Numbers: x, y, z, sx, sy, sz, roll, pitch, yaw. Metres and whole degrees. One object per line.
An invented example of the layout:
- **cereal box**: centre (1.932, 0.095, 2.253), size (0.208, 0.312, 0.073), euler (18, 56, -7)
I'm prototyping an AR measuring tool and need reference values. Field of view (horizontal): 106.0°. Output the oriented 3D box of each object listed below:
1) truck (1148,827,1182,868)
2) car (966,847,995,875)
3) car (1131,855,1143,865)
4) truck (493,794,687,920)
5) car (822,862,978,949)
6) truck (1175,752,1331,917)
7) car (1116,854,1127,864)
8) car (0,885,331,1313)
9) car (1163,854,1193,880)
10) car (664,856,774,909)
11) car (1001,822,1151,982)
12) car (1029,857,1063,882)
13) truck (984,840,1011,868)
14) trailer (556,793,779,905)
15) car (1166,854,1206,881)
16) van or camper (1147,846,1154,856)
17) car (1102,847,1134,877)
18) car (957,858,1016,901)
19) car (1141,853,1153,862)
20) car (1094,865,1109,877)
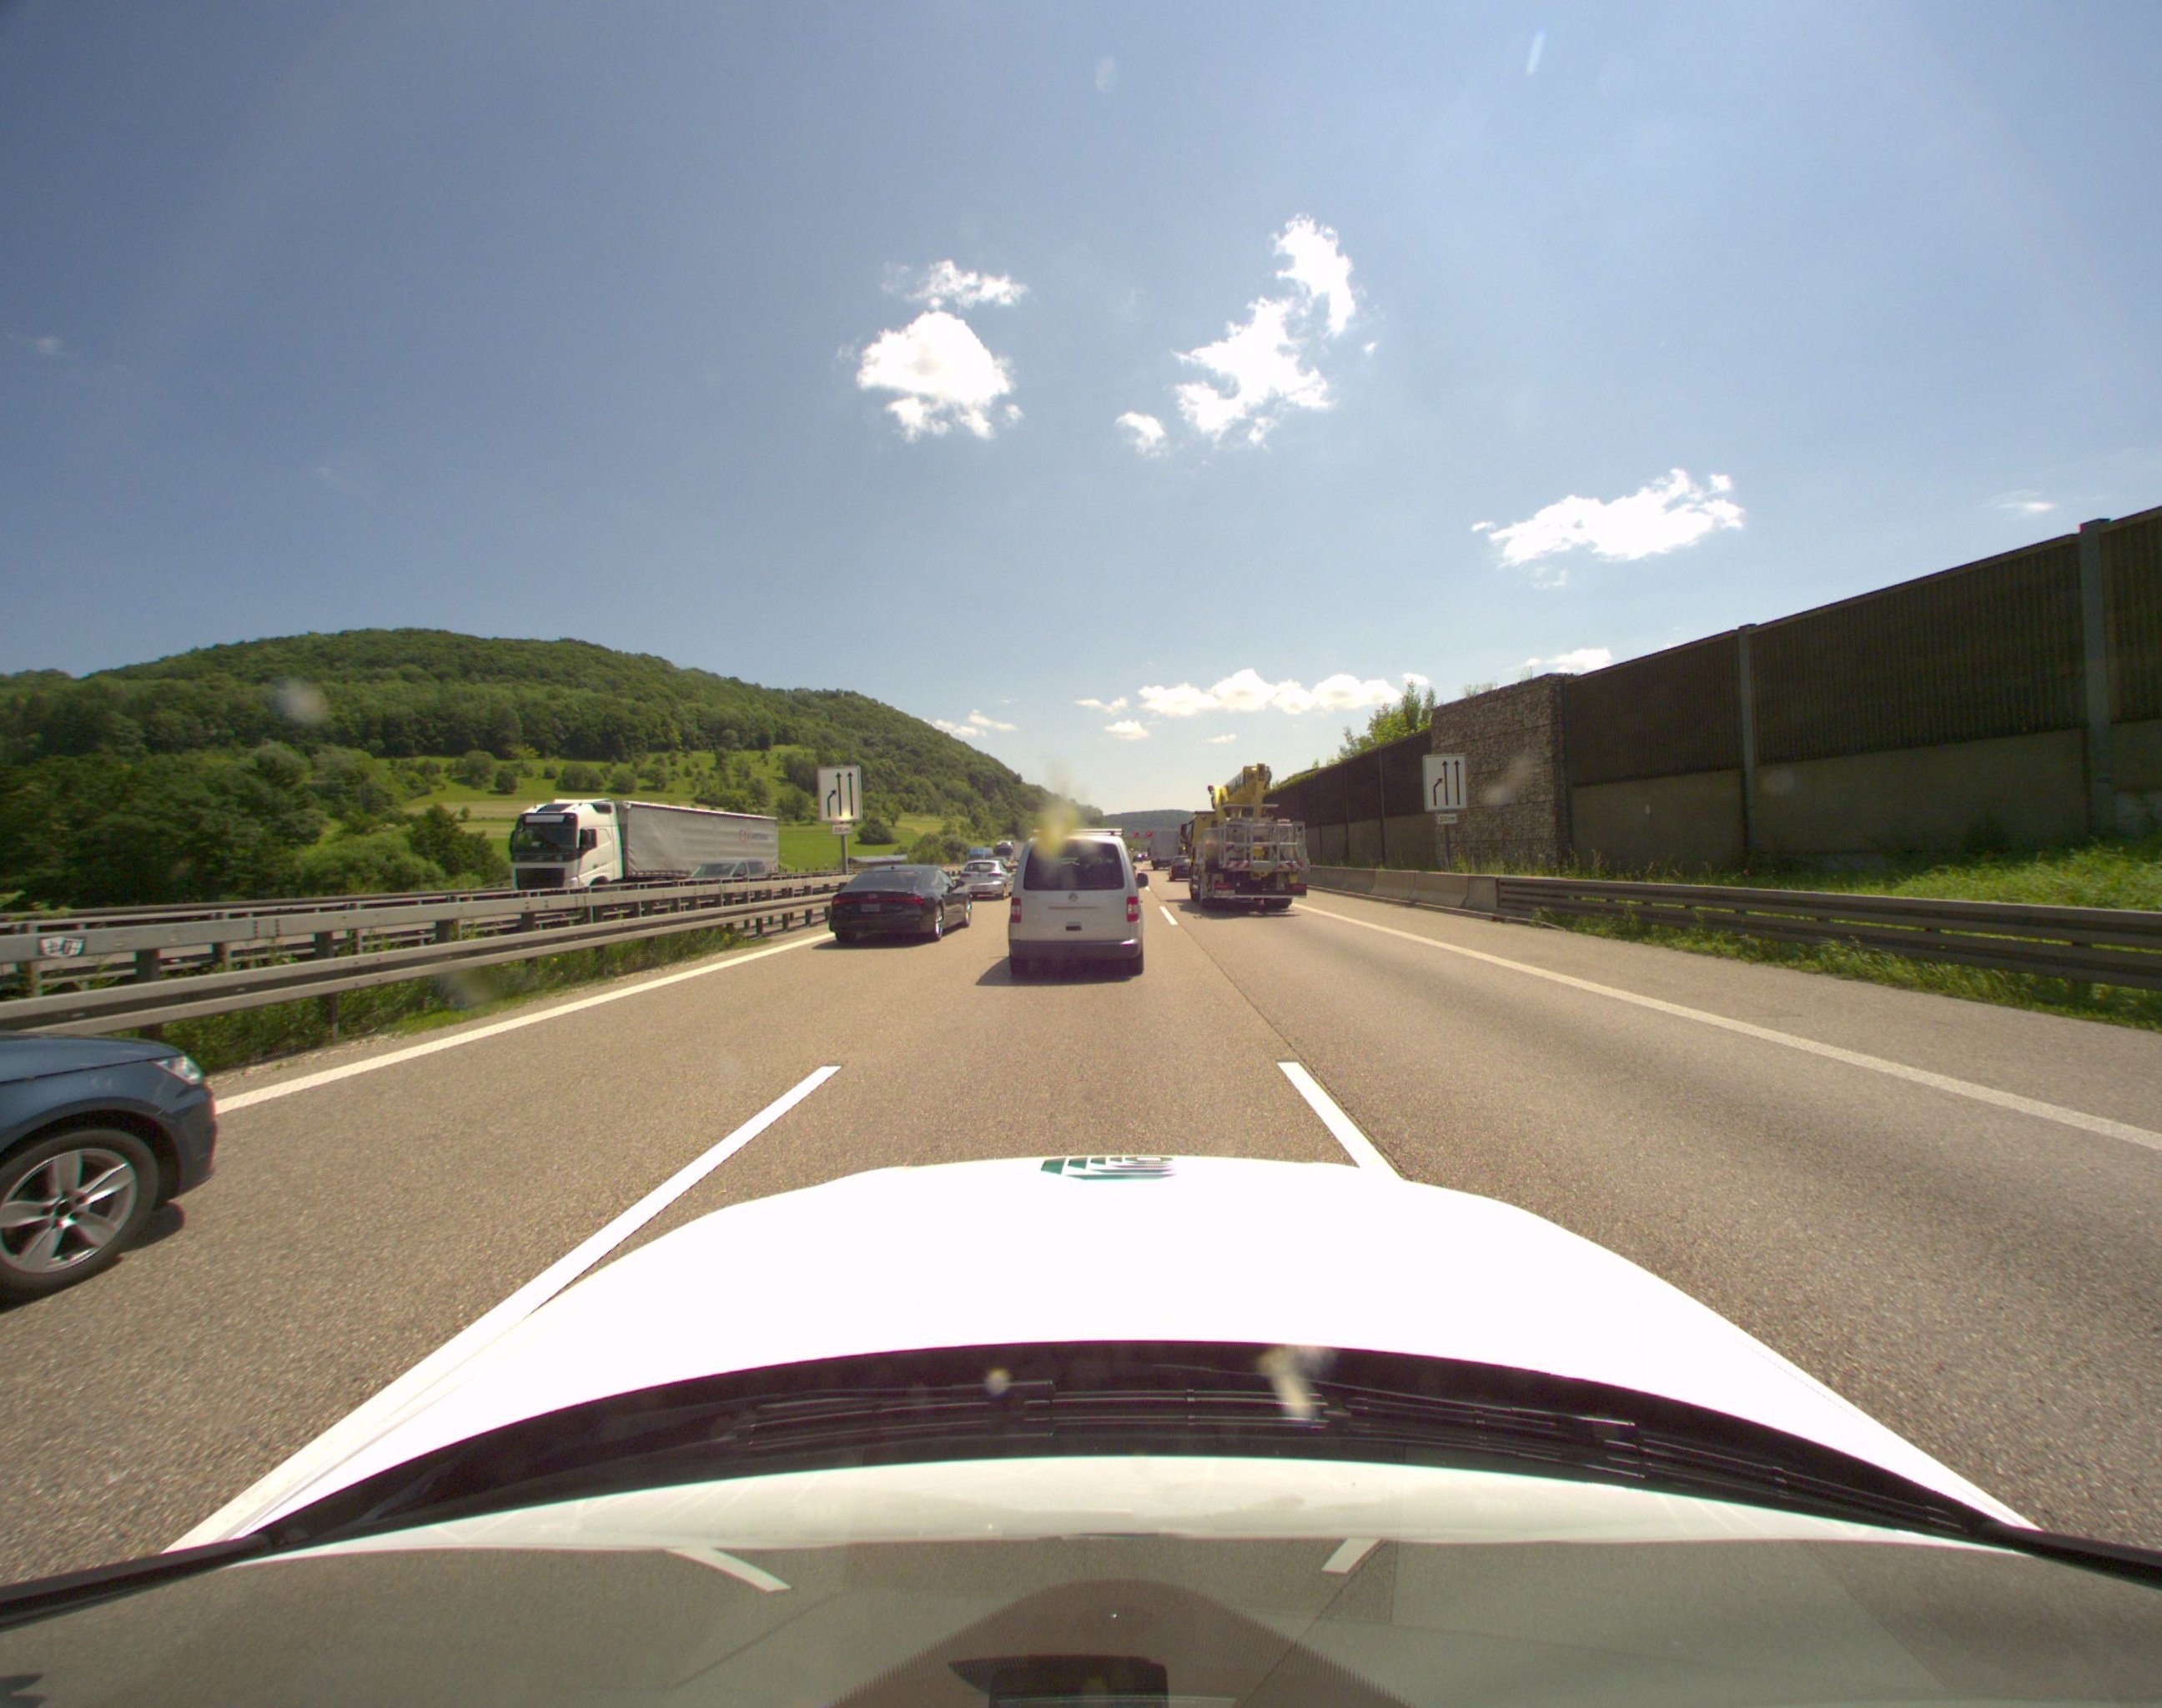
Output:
- **truck**: centre (8.278, -0.562, 81.377), size (2.928, 3.823, 8.242), euler (0, -1, 3)
- **car**: centre (-10.930, 0.785, 88.958), size (2.147, 2.862, 6.403), euler (0, -1, 2)
- **car**: centre (9.609, 1.049, 140.326), size (1.985, 1.749, 4.003), euler (0, -1, 3)
- **truck**: centre (-18.329, 0.133, 31.110), size (2.787, 4.232, 7.234), euler (0, -1, 2)
- **car**: centre (-3.365, 0.888, 16.218), size (1.794, 1.390, 4.971), euler (-1, 0, 2)
- **truck**: centre (4.683, -0.472, 24.116), size (2.695, 3.942, 8.720), euler (-1, 0, 0)
- **car**: centre (7.923, 1.015, 159.695), size (2.107, 1.828, 3.999), euler (0, -1, 0)
- **car**: centre (-4.487, 0.857, 1.901), size (1.682, 1.388, 4.001), euler (-1, 0, 1)
- **car**: centre (7.750, 0.999, 65.165), size (1.986, 2.013, 4.001), euler (-1, 0, 1)
- **car**: centre (-13.494, 1.005, 30.704), size (1.985, 1.853, 4.410), euler (0, 0, 3)
- **car**: centre (-0.053, 0.580, 11.746), size (1.750, 1.868, 3.999), euler (-1, 0, 0)
- **car**: centre (-2.168, 0.927, 50.972), size (1.919, 1.499, 3.999), euler (-1, 0, 0)
- **truck**: centre (-13.154, 0.032, 129.283), size (3.265, 4.148, 6.959), euler (-1, -1, 2)
- **trailer**: centre (-18.097, -0.127, 37.459), size (2.843, 4.191, 13.621), euler (0, -1, 2)
- **car**: centre (6.057, 0.759, 47.275), size (1.780, 1.458, 3.770), euler (-1, 0, 0)
- **van or camper**: centre (20.950, -0.782, 246.315), size (1.985, 2.954, 5.427), euler (0, -1, 3)
- **car**: centre (2.543, 0.570, 56.917), size (1.987, 1.975, 3.999), euler (-1, 0, 0)
- **car**: centre (-3.439, 0.887, 30.187), size (1.690, 1.445, 3.862), euler (-1, 0, 0)
- **car**: centre (13.411, 0.750, 165.959), size (2.107, 1.828, 3.999), euler (0, -1, 0)
- **car**: centre (3.186, 2.535, 124.177), size (2.105, 1.828, 4.003), euler (0, -1, 3)
